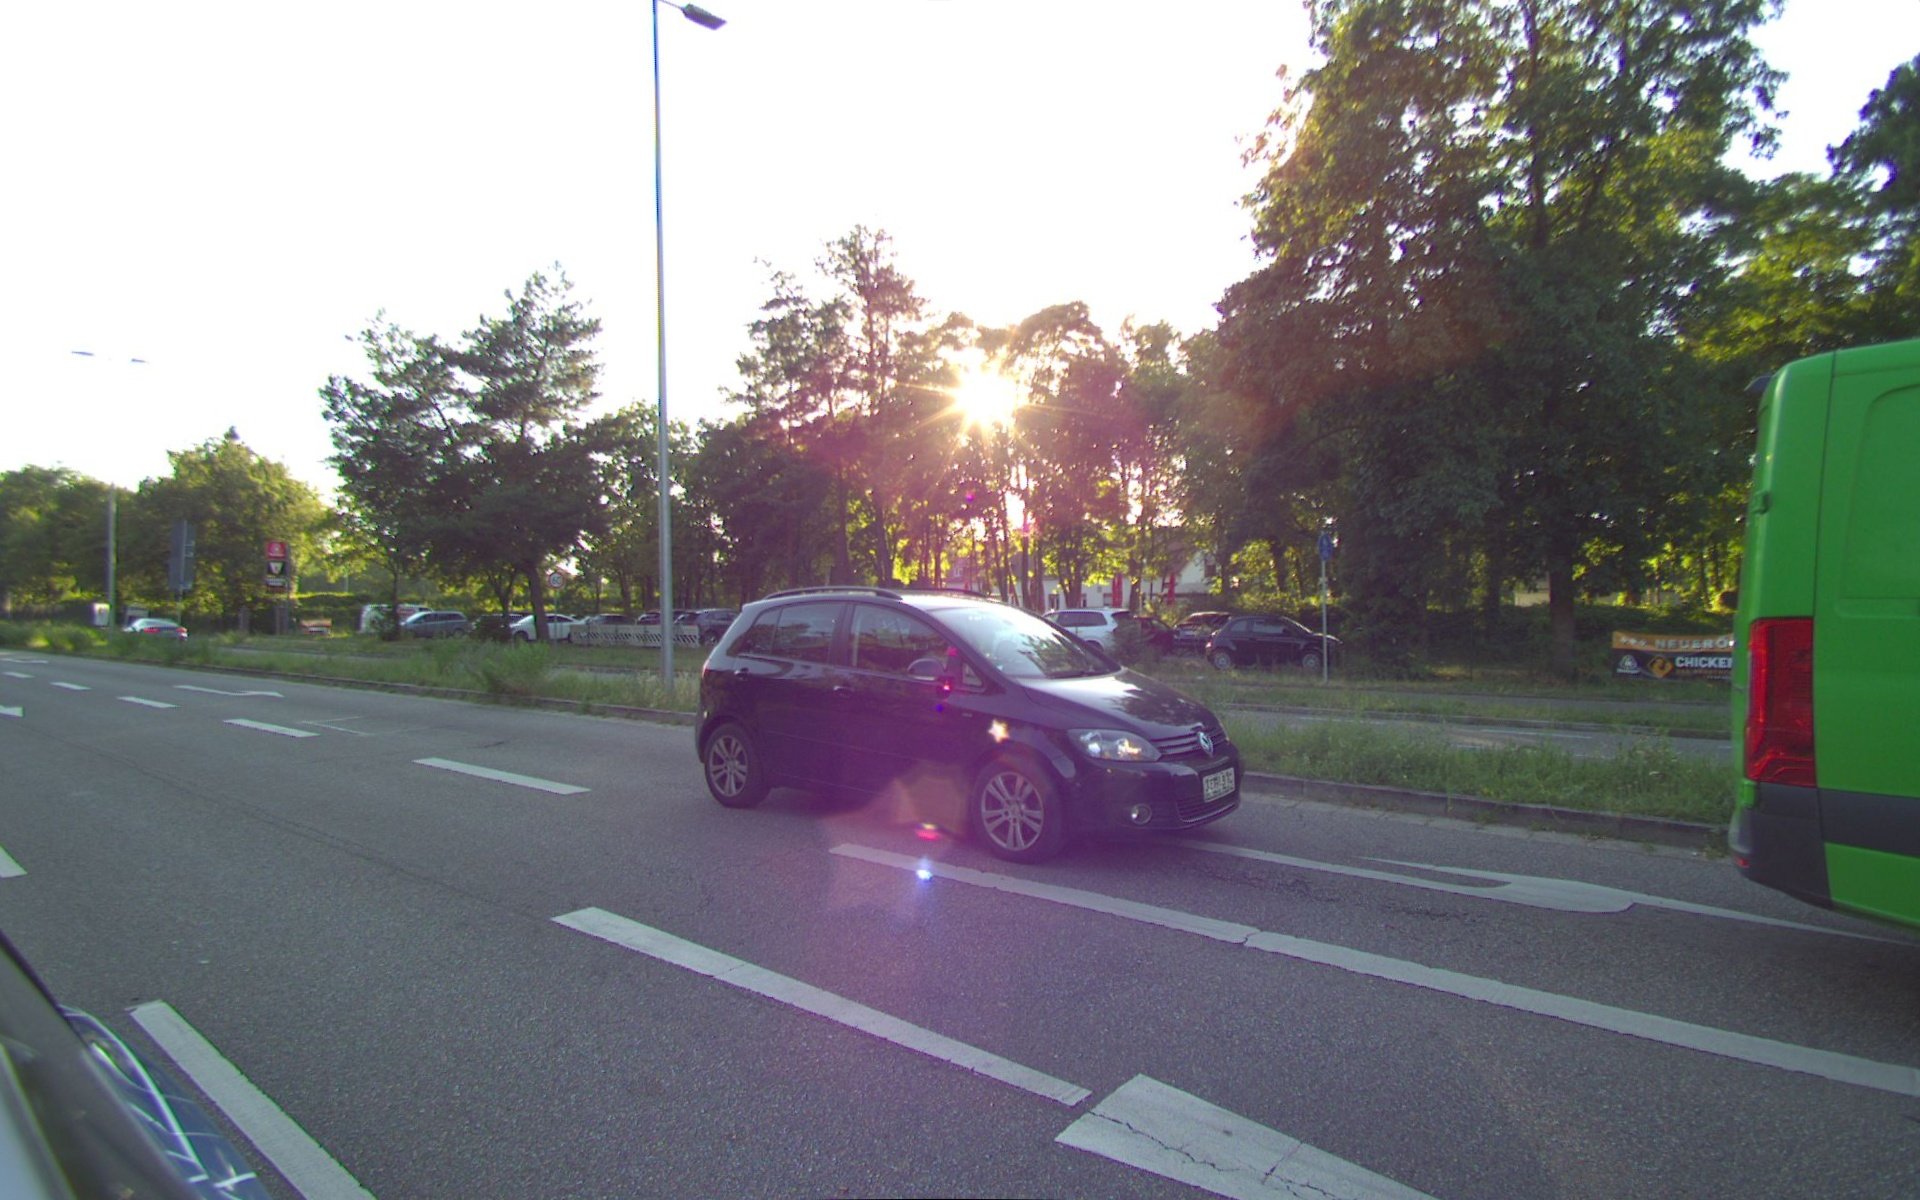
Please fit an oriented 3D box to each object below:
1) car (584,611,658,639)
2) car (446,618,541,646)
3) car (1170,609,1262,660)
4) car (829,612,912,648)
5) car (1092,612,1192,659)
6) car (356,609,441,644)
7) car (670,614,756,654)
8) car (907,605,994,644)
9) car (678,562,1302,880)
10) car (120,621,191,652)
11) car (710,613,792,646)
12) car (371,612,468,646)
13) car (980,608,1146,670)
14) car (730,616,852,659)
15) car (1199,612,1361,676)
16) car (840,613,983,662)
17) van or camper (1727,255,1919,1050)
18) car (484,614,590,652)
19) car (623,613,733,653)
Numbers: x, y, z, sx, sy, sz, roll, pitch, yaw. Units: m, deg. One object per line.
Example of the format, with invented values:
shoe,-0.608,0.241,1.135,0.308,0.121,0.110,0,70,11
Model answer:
car,-20.485,1.506,61.241,1.765,1.663,3.947,-1,-2,40
car,-23.219,1.577,50.440,1.731,1.322,3.947,-1,-2,39
car,9.009,1.175,35.444,1.914,1.663,3.954,-1,-1,34
car,-4.310,1.451,49.049,1.765,1.663,3.947,-1,-2,39
car,6.832,1.312,37.847,1.918,1.663,3.944,-1,-2,42
car,-32.515,1.516,58.689,1.764,1.959,3.949,-1,-2,38
car,-10.088,1.366,41.430,1.657,1.538,3.060,-1,-2,38
car,-0.376,1.104,45.113,1.765,1.663,3.947,-1,-2,39
car,0.047,0.640,7.049,3.996,1.564,1.973,-1,-2,40
car,-40.070,1.778,50.378,4.496,1.452,1.872,-1,-2,39
car,-10.891,1.521,52.951,1.765,1.663,3.947,-1,-2,40
car,-30.222,1.606,56.692,1.907,1.811,4.443,-1,-2,38
car,3.182,1.178,31.806,4.913,1.800,1.975,-1,-2,37
car,-6.595,1.415,39.296,4.701,1.560,1.975,-1,-2,37
car,8.581,1.148,27.250,3.807,1.609,1.838,-1,-2,36
car,-1.737,1.286,35.593,4.913,1.619,1.975,-1,-2,37
van or camper,5.476,0.136,2.265,5.891,2.439,1.973,-1,-2,40
car,-20.793,1.622,49.847,1.908,1.767,4.441,-1,-2,39
car,-12.164,1.417,43.927,1.769,1.629,4.470,-1,-2,37
